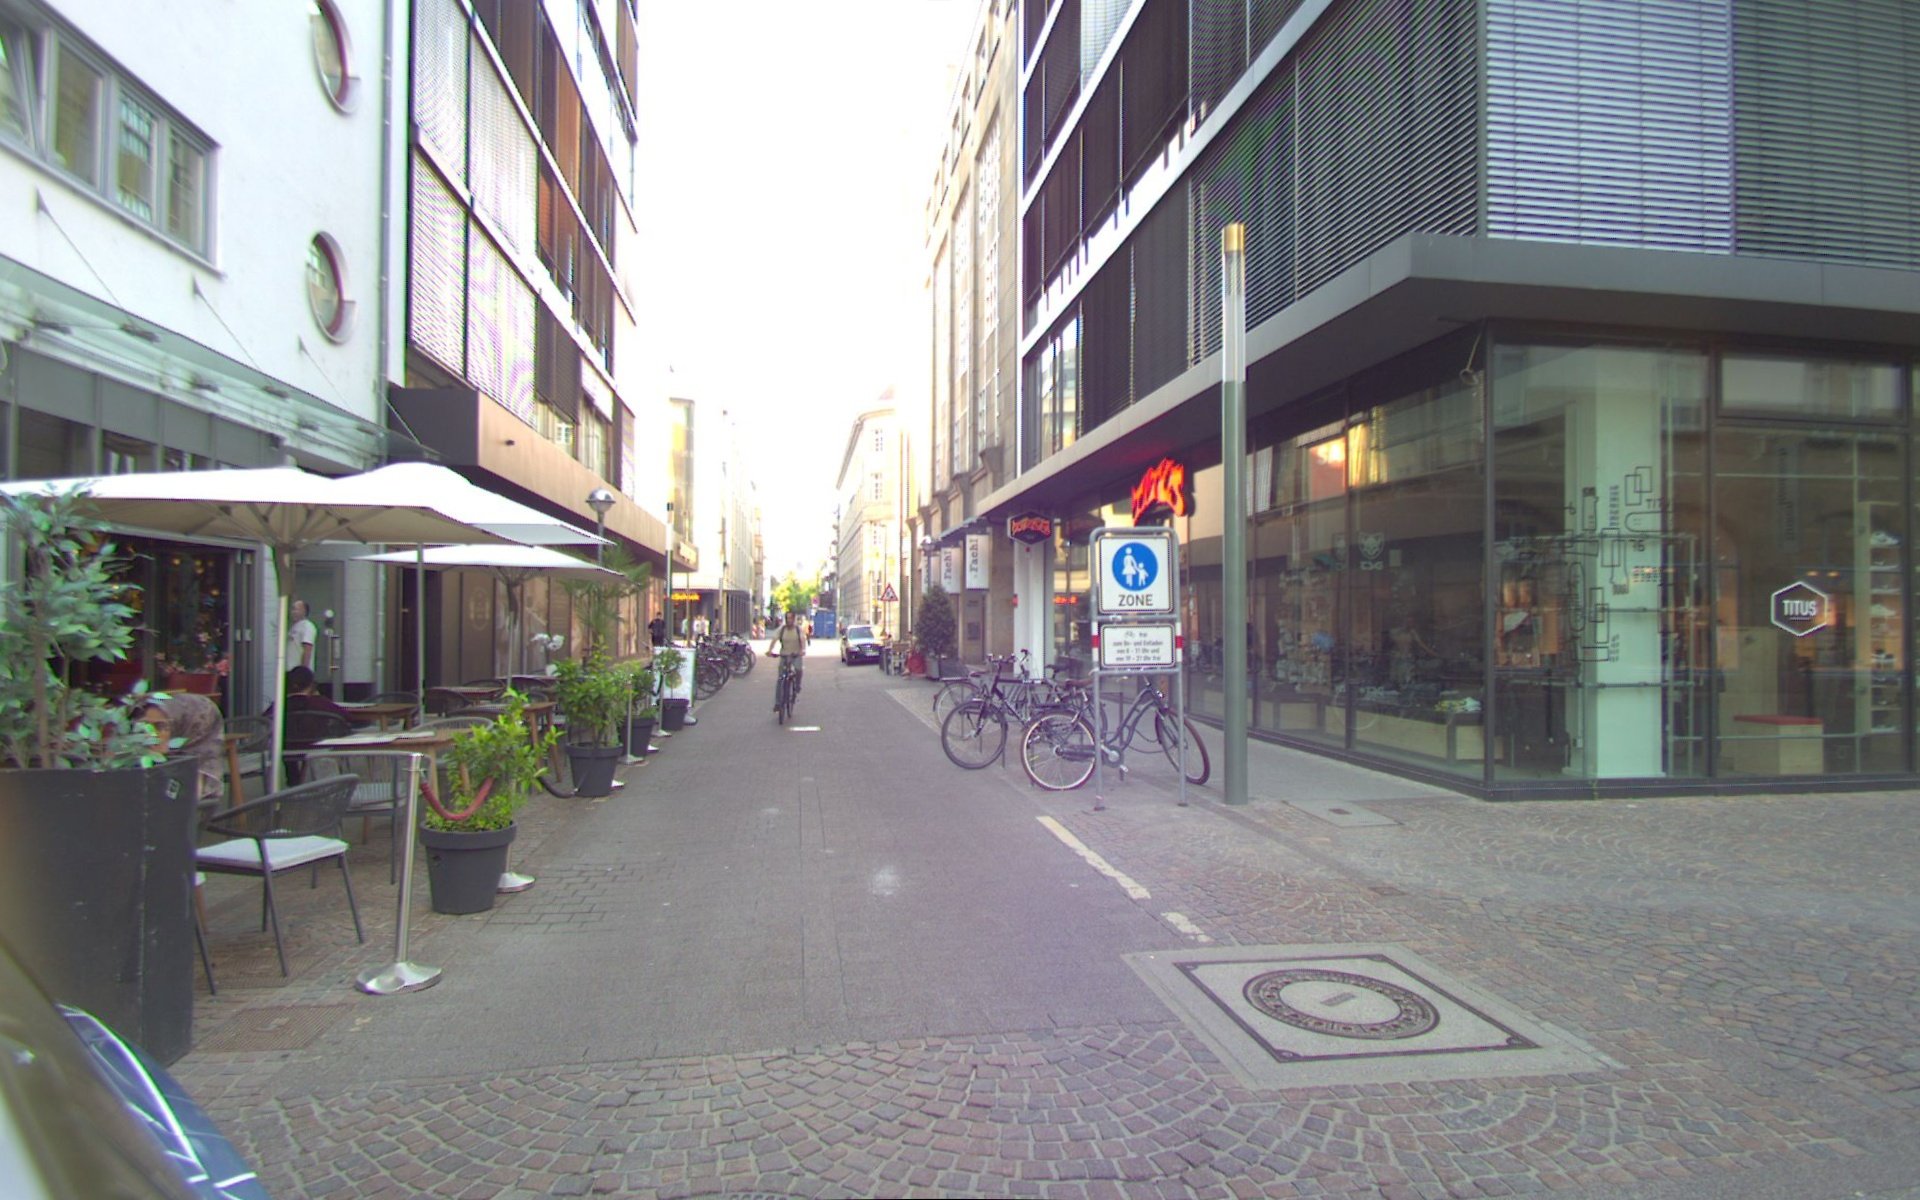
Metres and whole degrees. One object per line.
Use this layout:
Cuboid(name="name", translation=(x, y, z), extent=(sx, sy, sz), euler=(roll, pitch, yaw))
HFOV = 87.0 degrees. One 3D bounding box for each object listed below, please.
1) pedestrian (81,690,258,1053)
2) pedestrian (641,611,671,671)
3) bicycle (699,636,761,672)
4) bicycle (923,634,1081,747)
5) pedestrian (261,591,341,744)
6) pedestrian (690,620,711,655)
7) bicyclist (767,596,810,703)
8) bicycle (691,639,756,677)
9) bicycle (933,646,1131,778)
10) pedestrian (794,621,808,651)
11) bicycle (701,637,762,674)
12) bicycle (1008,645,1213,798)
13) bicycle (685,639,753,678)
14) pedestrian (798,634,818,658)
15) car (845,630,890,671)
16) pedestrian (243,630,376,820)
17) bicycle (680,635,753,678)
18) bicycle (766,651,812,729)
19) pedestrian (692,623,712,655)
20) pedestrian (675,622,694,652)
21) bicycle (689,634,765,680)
Cuboid(name="pedestrian", translation=(-2.914, 0.963, 3.761), extent=(0.393, 1.223, 0.384), euler=(1, -2, -19))
Cuboid(name="pedestrian", translation=(-9.495, 1.269, 31.633), extent=(0.791, 1.850, 0.676), euler=(0, -2, -7))
Cuboid(name="bicycle", translation=(-7.670, 1.793, 33.799), extent=(2.007, 1.176, 0.620), euler=(0, -2, -10))
Cuboid(name="bicycle", translation=(0.530, 1.133, 12.946), extent=(1.873, 1.279, 0.539), euler=(-3, -1, -8))
Cuboid(name="pedestrian", translation=(-7.928, 0.797, 12.199), extent=(0.630, 1.785, 0.604), euler=(0, -2, -14))
Cuboid(name="pedestrian", translation=(-12.335, 1.792, 48.100), extent=(0.635, 1.633, 0.772), euler=(0, -1, 41))
Cuboid(name="bicyclist", translation=(-2.787, 0.793, 16.442), extent=(0.665, 1.683, 0.871), euler=(0, -2, -10))
Cuboid(name="bicycle", translation=(-7.547, 1.836, 32.341), extent=(2.007, 1.176, 0.620), euler=(0, -2, -10))
Cuboid(name="bicycle", translation=(0.717, 1.111, 10.270), extent=(1.873, 1.190, 0.518), euler=(-2, -3, -10))
Cuboid(name="pedestrian", translation=(-8.761, 1.960, 55.653), extent=(0.753, 1.650, 0.670), euler=(1, -1, -8))
Cuboid(name="bicycle", translation=(-7.792, 1.891, 34.570), extent=(2.007, 1.225, 0.620), euler=(0, -2, -10))
Cuboid(name="bicycle", translation=(1.304, 1.033, 8.862), extent=(1.644, 1.213, 0.510), euler=(-2, -1, -9))
Cuboid(name="bicycle", translation=(-7.438, 1.785, 31.242), extent=(2.007, 1.176, 0.620), euler=(0, -2, -10))
Cuboid(name="pedestrian", translation=(-10.050, 3.053, 67.047), extent=(0.918, 1.584, 0.981), euler=(-1, -2, 35))
Cuboid(name="car", translation=(-3.371, 1.803, 36.918), extent=(1.579, 1.434, 3.608), euler=(0, -2, -5))
Cuboid(name="pedestrian", translation=(-5.176, 0.954, 8.104), extent=(0.567, 1.431, 0.870), euler=(0, -2, -8))
Cuboid(name="bicycle", translation=(-7.196, 1.670, 29.954), extent=(2.007, 1.176, 0.620), euler=(3, -2, -9))
Cuboid(name="bicycle", translation=(-2.772, 1.412, 16.365), extent=(0.688, 1.137, 2.009), euler=(0, -2, -10))
Cuboid(name="pedestrian", translation=(-13.556, 2.029, 53.167), extent=(0.780, 1.633, 0.629), euler=(0, -1, 32))
Cuboid(name="pedestrian", translation=(-14.308, 1.907, 52.534), extent=(0.772, 1.536, 0.636), euler=(0, -1, 1))
Cuboid(name="bicycle", translation=(-6.560, 1.611, 28.614), extent=(2.007, 1.176, 0.667), euler=(3, -2, -9))
